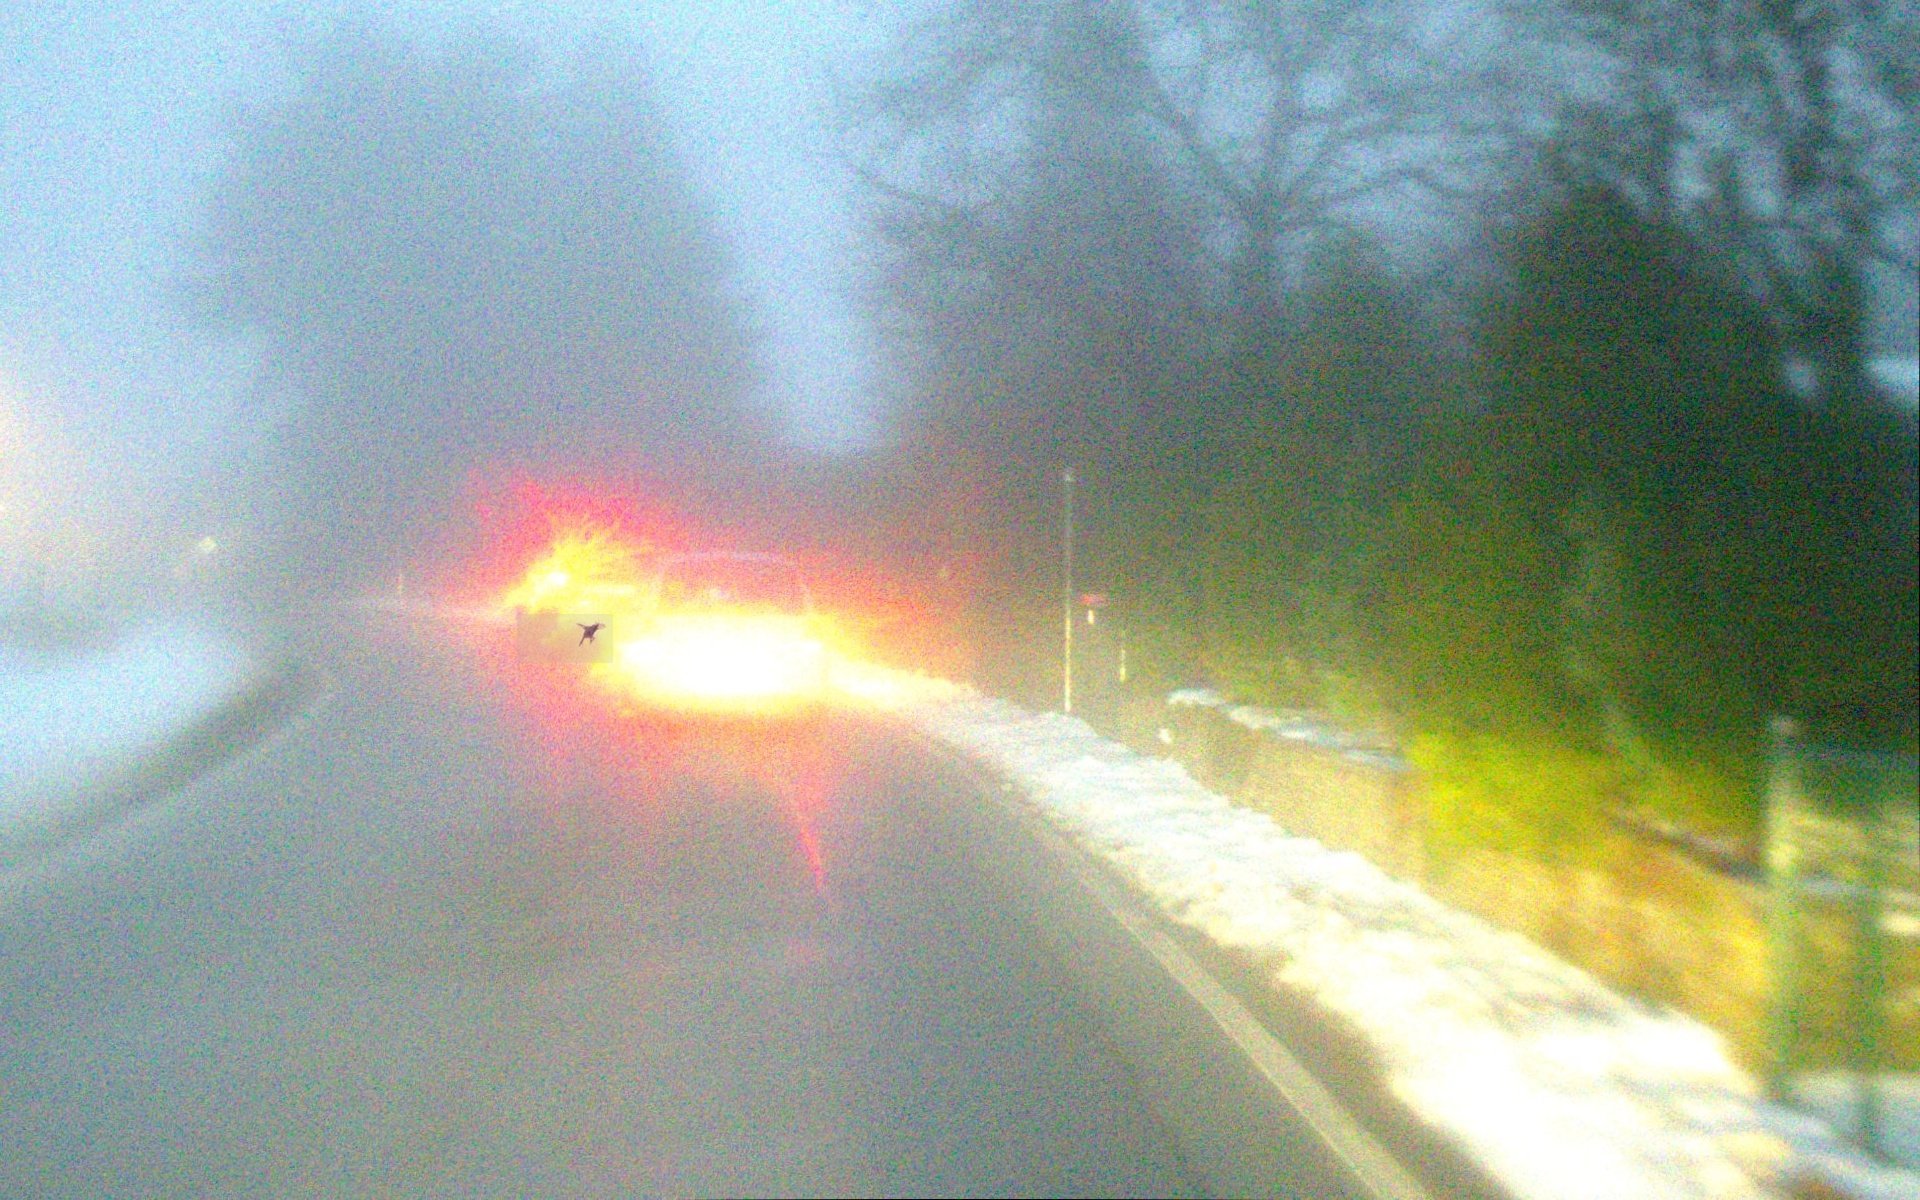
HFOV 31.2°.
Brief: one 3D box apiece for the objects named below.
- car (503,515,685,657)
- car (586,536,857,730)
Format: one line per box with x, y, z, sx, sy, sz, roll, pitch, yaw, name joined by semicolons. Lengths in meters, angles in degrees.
-4.717;-0.182;44.764;1.993;1.744;4.000;0;0;-1;car
-1.920;0.250;28.798;1.993;1.503;4.000;0;0;0;car
